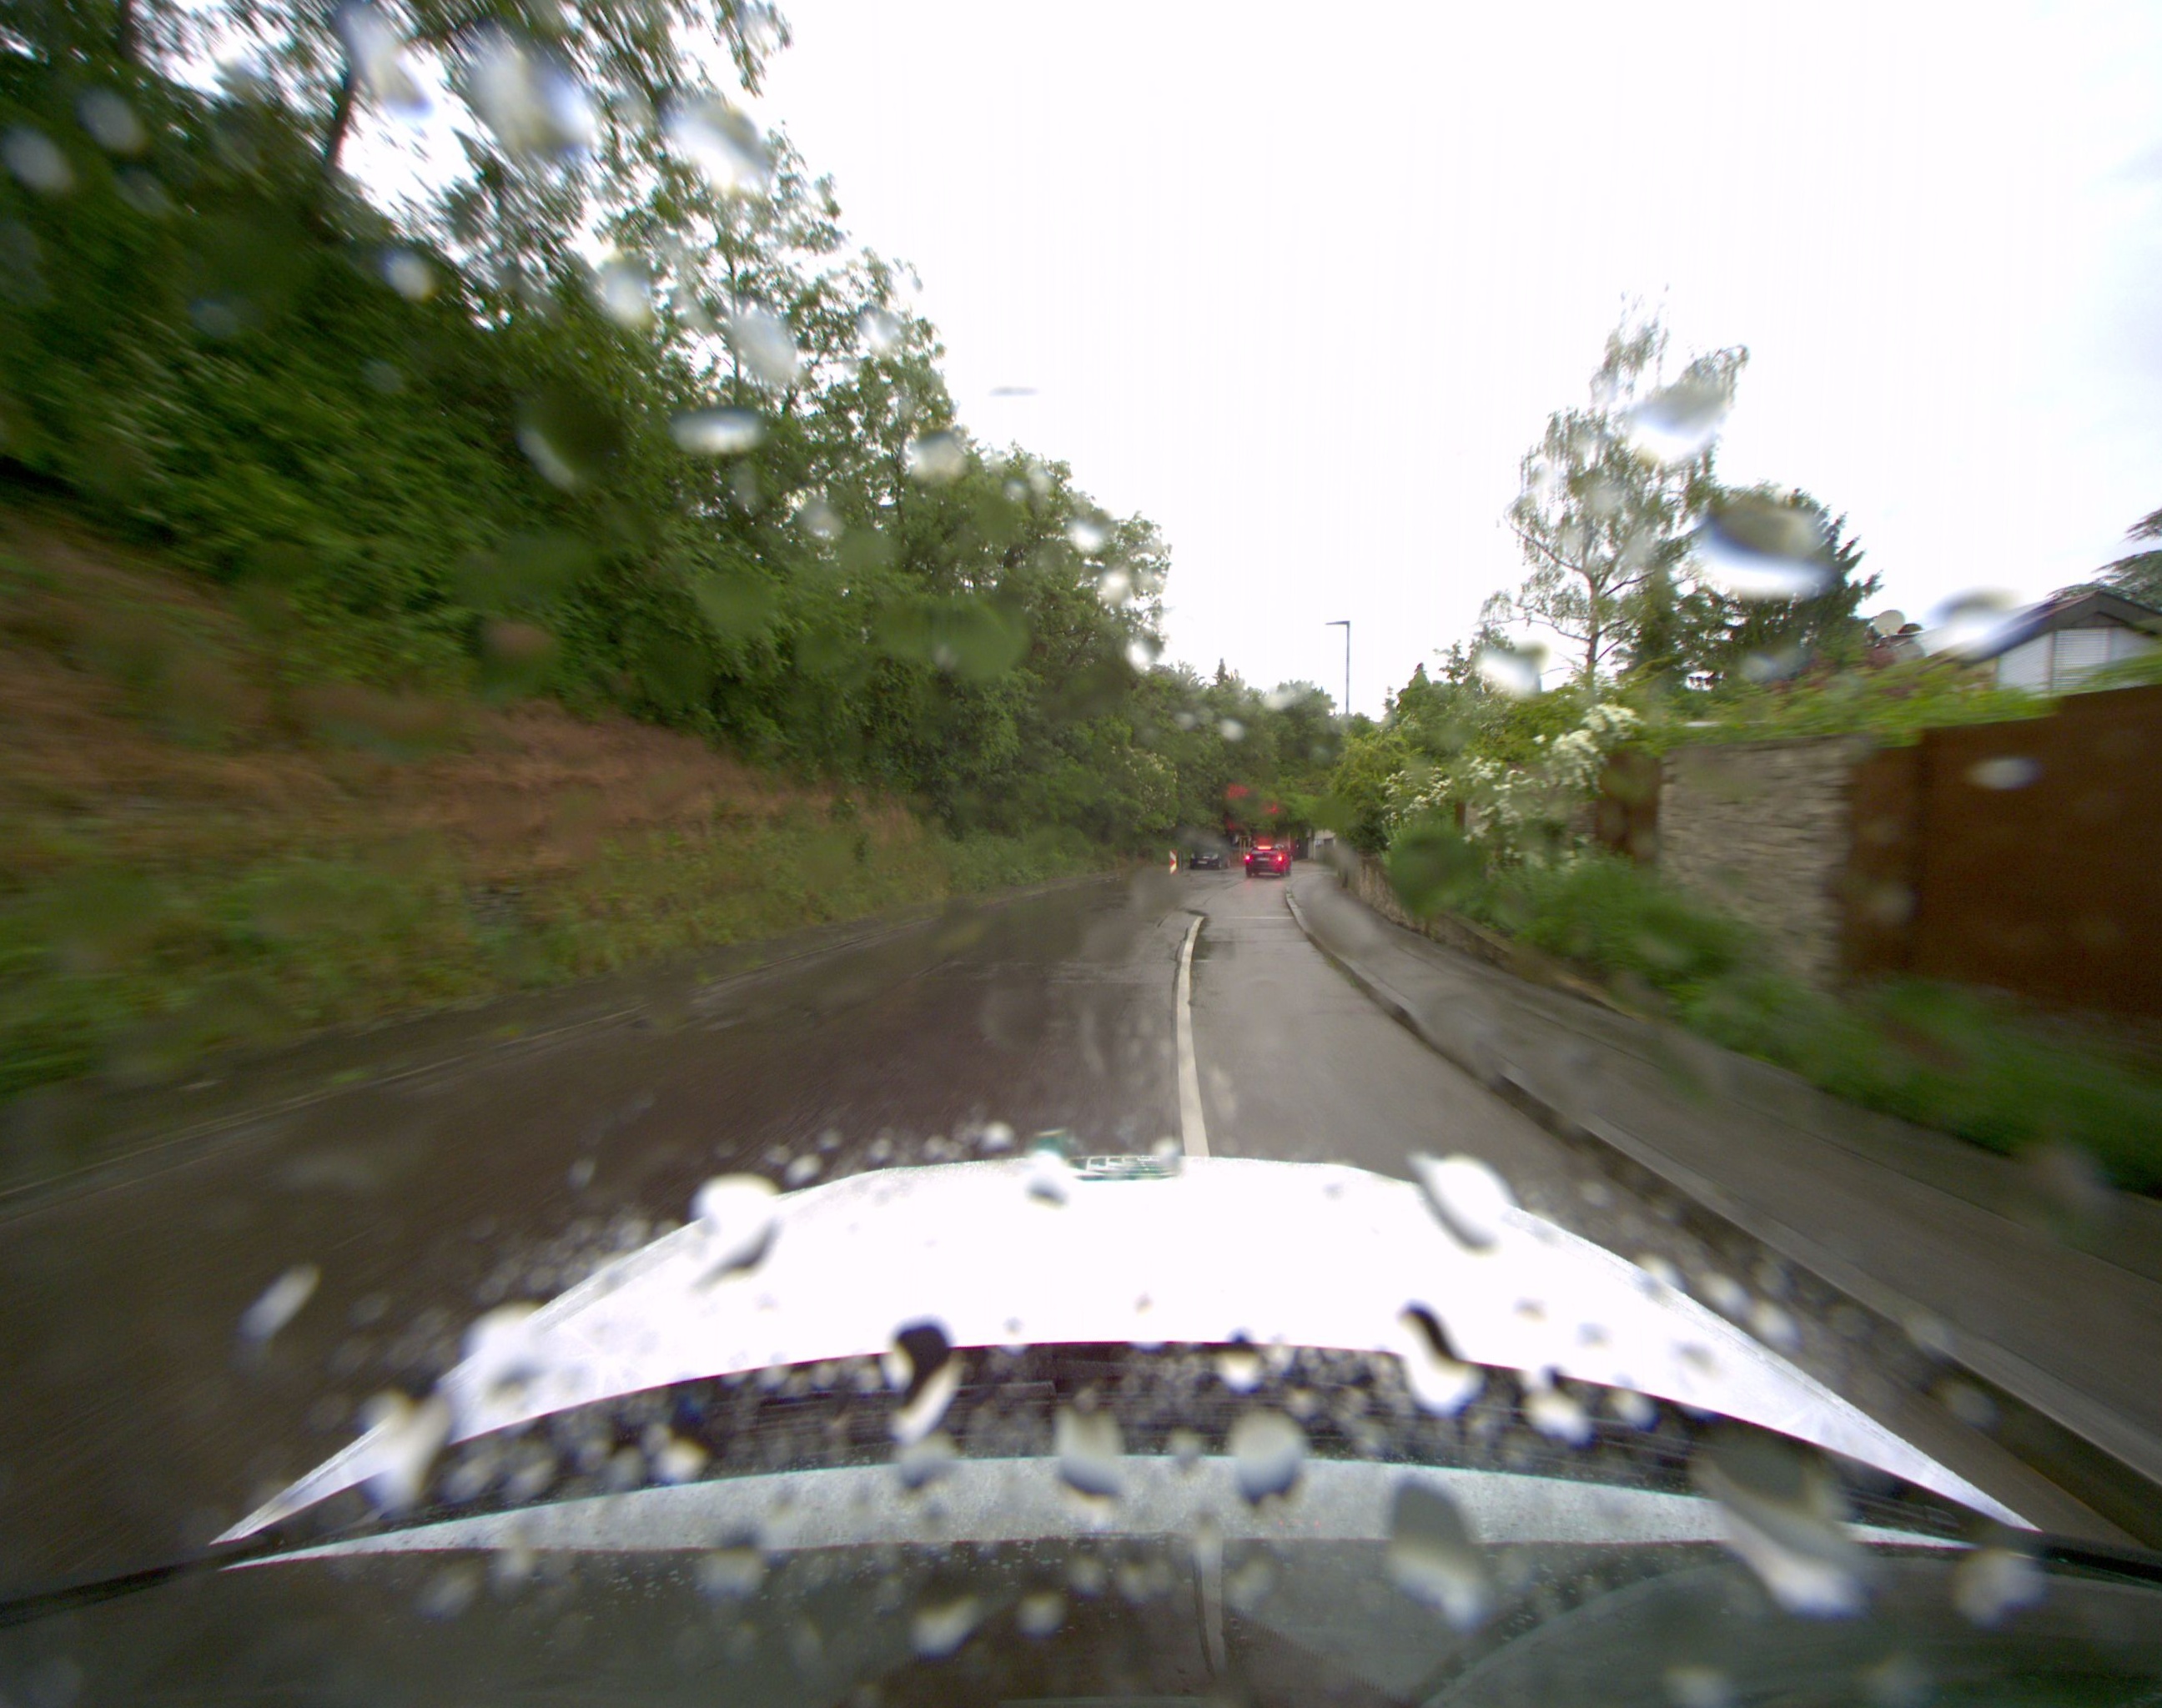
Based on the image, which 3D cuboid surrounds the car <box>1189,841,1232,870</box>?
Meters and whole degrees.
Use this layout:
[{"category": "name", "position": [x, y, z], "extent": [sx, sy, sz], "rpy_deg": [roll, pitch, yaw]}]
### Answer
[{"category": "car", "position": [7.350, 0.056, 45.942], "extent": [1.685, 1.471, 4.020], "rpy_deg": [2, 2, 20]}]

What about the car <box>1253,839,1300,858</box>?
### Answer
[{"category": "car", "position": [16.376, -0.426, 68.219], "extent": [1.975, 1.508, 4.599], "rpy_deg": [2, 1, 39]}]

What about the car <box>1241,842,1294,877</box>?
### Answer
[{"category": "car", "position": [8.729, 0.204, 37.901], "extent": [1.852, 1.512, 4.114], "rpy_deg": [0, 1, 21]}]
